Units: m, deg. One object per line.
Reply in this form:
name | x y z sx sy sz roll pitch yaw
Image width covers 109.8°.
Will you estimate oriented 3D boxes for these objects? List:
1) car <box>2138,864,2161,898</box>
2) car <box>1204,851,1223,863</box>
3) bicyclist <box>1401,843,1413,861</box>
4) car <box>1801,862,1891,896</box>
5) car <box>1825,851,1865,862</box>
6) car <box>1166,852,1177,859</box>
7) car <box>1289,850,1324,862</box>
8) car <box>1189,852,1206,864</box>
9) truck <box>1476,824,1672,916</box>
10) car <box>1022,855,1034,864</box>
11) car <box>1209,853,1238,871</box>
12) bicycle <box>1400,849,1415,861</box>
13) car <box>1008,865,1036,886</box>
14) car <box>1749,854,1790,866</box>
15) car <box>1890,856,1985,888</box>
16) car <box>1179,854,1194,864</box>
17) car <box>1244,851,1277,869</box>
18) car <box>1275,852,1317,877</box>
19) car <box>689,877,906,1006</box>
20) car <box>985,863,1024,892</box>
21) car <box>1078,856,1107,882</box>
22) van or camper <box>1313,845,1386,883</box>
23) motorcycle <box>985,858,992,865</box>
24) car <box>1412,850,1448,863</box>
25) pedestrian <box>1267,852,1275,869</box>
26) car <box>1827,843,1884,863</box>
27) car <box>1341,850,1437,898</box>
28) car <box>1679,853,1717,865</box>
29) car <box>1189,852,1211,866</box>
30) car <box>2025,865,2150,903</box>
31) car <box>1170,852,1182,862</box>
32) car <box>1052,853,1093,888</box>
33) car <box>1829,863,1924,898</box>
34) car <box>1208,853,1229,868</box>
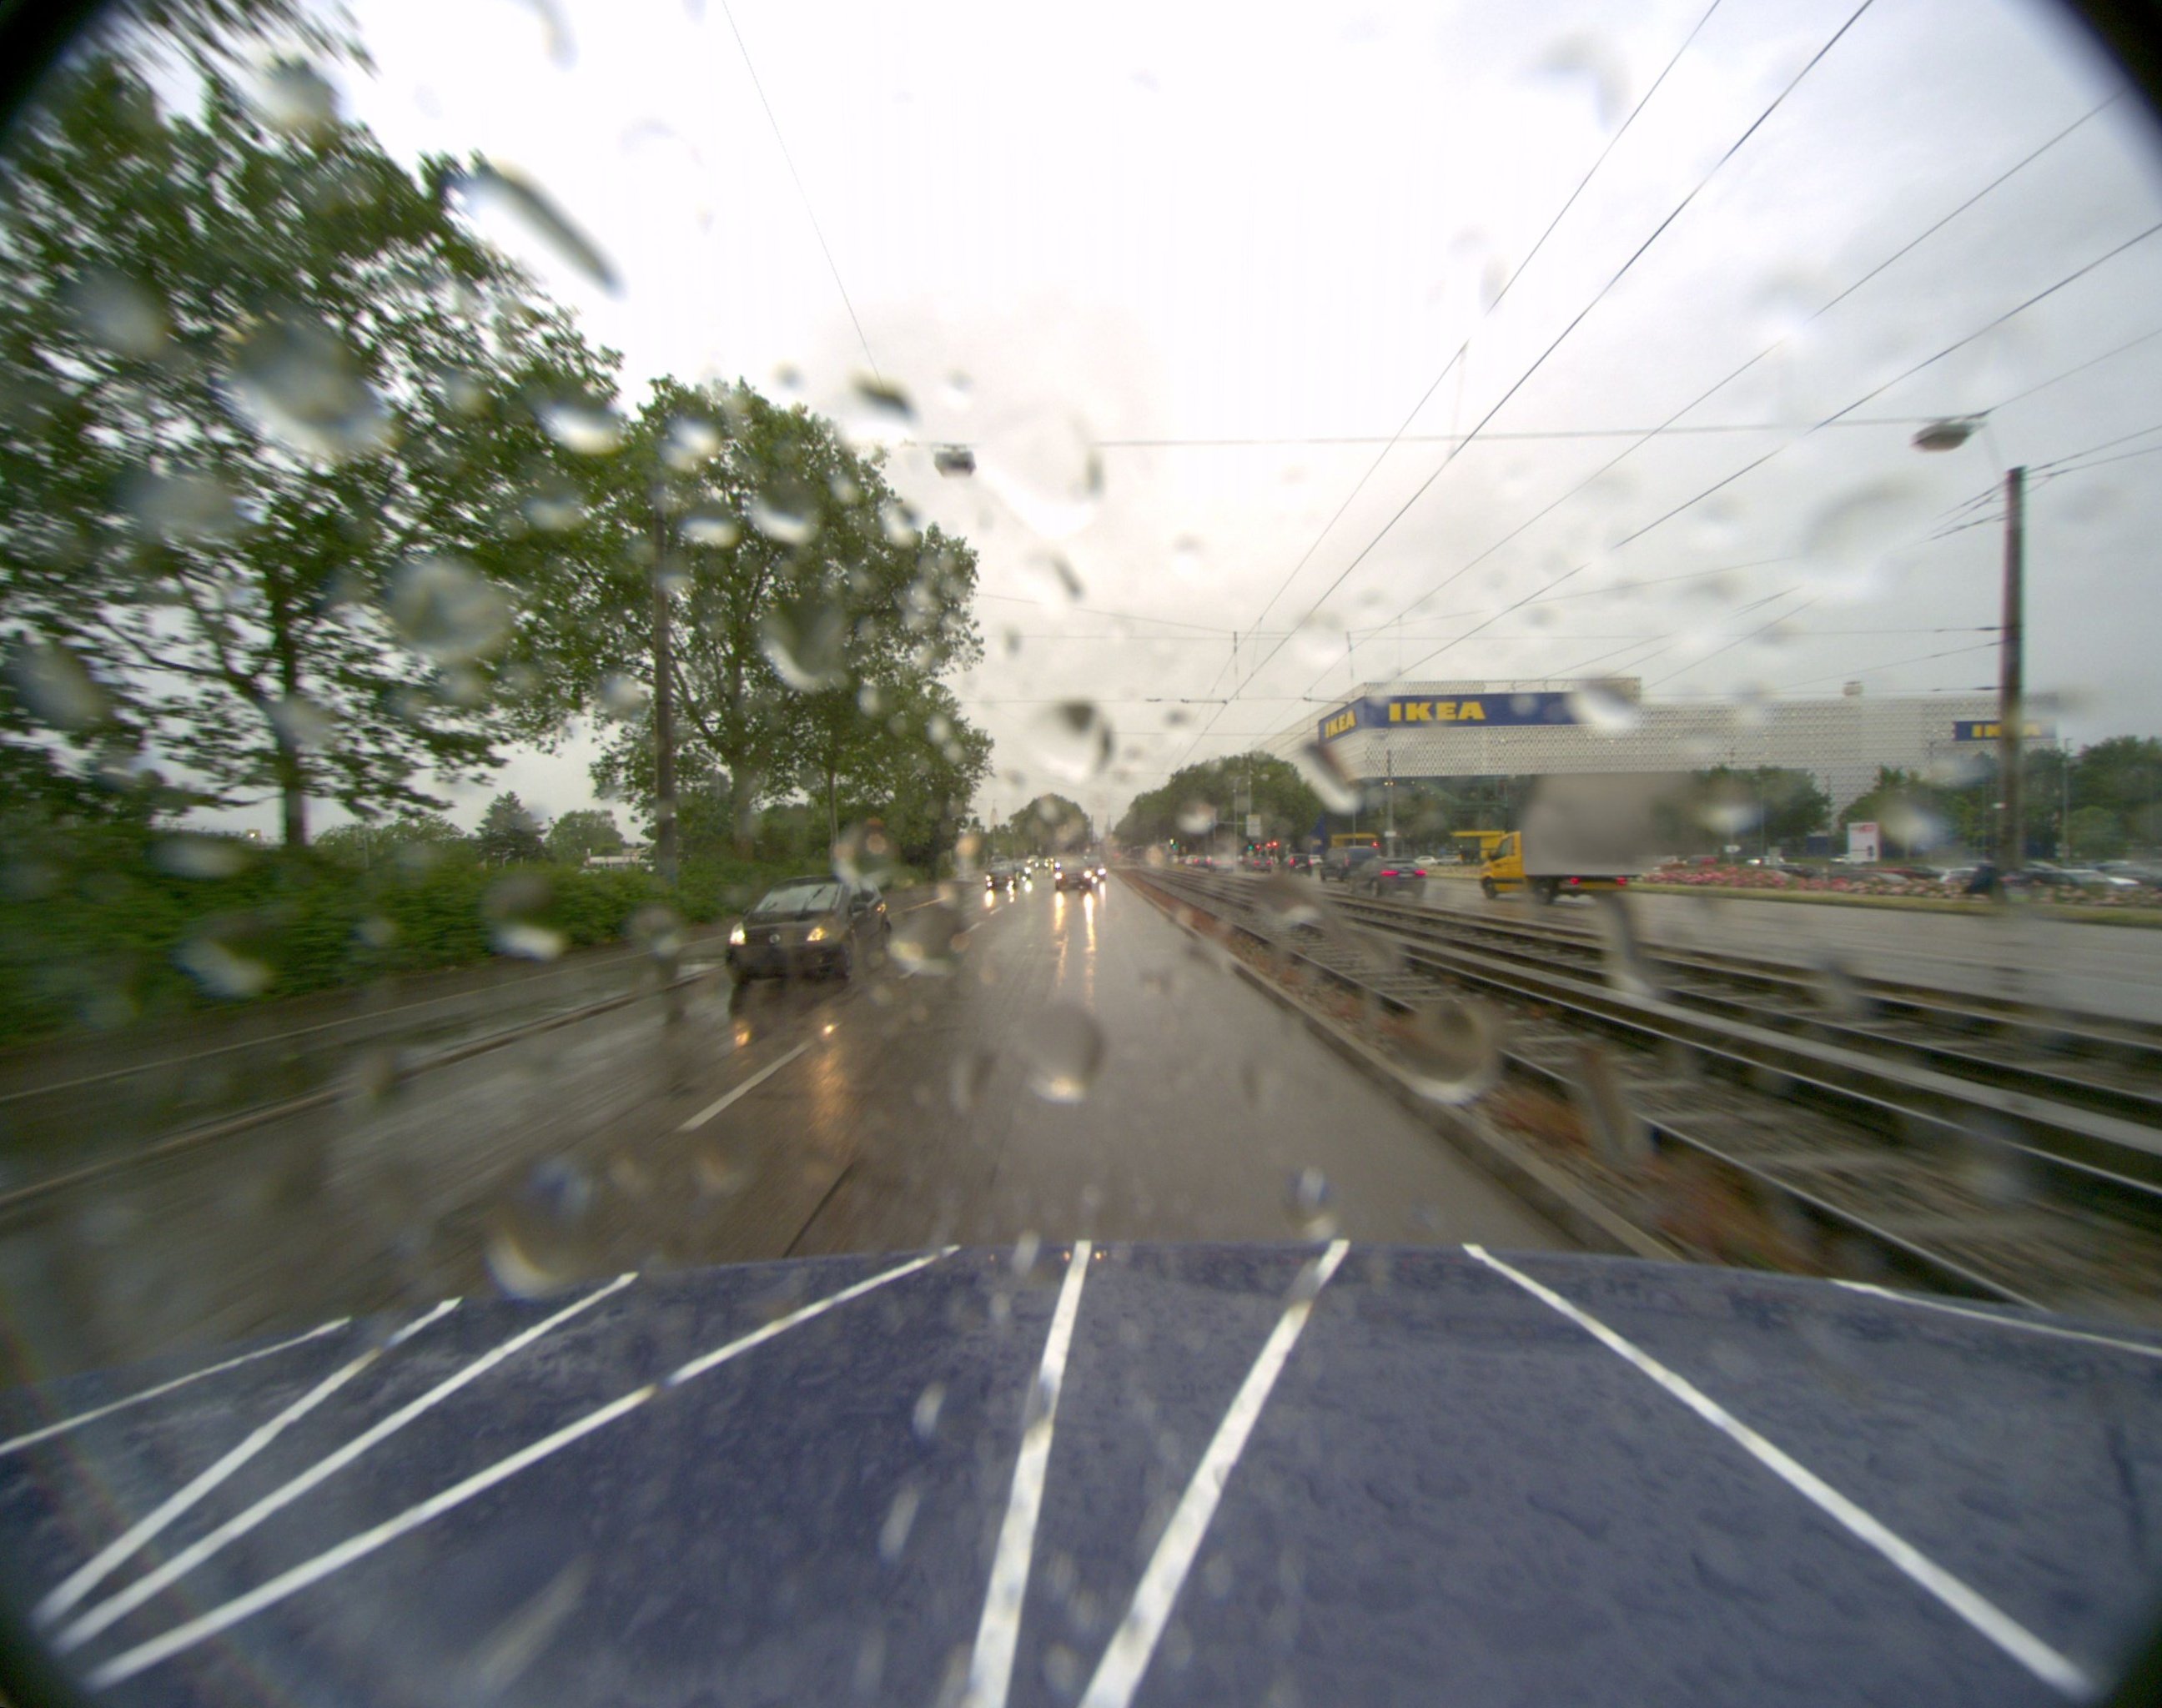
car | 67.221 1.651 45.570 1.999 2.002 3.999 -3 1 -1
car | 19.693 0.485 113.339 1.912 1.597 4.842 -4 0 0
bicyclist | 29.205 -0.183 68.084 0.673 1.580 0.792 -4 1 1
car | 34.499 1.114 34.331 1.265 1.368 2.693 -4 0 -2
car | 107.935 0.384 107.393 3.821 1.399 1.602 -3 1 3
car | 17.689 0.334 148.932 1.716 1.242 4.462 -3 -1 2
car | 31.883 0.313 107.547 4.459 1.531 1.820 -3 -1 3
car | 16.316 0.514 106.841 1.877 1.564 4.329 -3 -1 3
truck | 14.941 0.407 23.627 2.232 2.447 6.067 1 1 2
car | -9.217 1.012 133.370 1.715 1.515 4.178 -3 -1 1
car | 12.805 0.694 68.573 1.863 1.485 4.689 0 1 1
bicycle | 29.222 0.112 68.066 0.670 1.010 1.556 -4 1 1
car | -4.572 1.653 59.498 1.715 1.515 4.043 -3 -1 1
car | 98.070 0.820 108.300 4.163 1.399 1.709 -3 1 3
car | 60.061 1.233 53.381 1.999 2.002 3.999 -4 0 -2
car | 16.732 0.798 120.719 1.927 1.415 5.084 2 -1 2
car | 16.246 0.517 69.005 1.968 1.507 4.554 0 1 1
car | 15.708 0.735 55.672 1.862 1.608 4.908 1 1 3
car | -4.016 1.156 11.559 1.776 1.453 4.092 -3 -1 -1
car | -4.281 1.311 43.090 1.715 1.476 4.043 -3 -1 1
car | 0.711 0.941 48.666 1.715 1.515 4.043 -3 -1 1
van or camper | 15.221 0.528 43.459 2.310 2.002 5.686 -1 1 2
motorcycle | -14.782 1.205 121.724 0.633 1.211 1.449 0 0 12
car | 48.943 0.315 106.599 4.106 1.594 2.000 -3 1 2
pedestrian | 26.304 0.862 105.045 0.920 2.232 0.990 -4 3 14
car | 83.034 -0.158 81.545 1.999 2.002 3.998 -3 1 -2
car | 11.490 0.698 28.726 1.823 1.613 4.536 -2 1 1
car | 88.227 0.710 108.617 3.982 1.399 1.602 -3 1 3
car | 13.962 0.584 89.376 1.998 1.448 4.671 1 1 1
car | 60.417 1.768 45.717 1.999 2.002 4.090 -4 0 -2
car | 17.034 0.559 136.524 1.716 1.526 4.049 -3 -1 3
car | -0.439 0.835 38.420 1.876 1.573 4.043 -3 -1 0
car | 52.548 1.704 50.326 1.999 2.002 3.999 -4 0 -2
car | 17.201 0.776 95.329 1.998 1.823 4.693 -1 1 2
